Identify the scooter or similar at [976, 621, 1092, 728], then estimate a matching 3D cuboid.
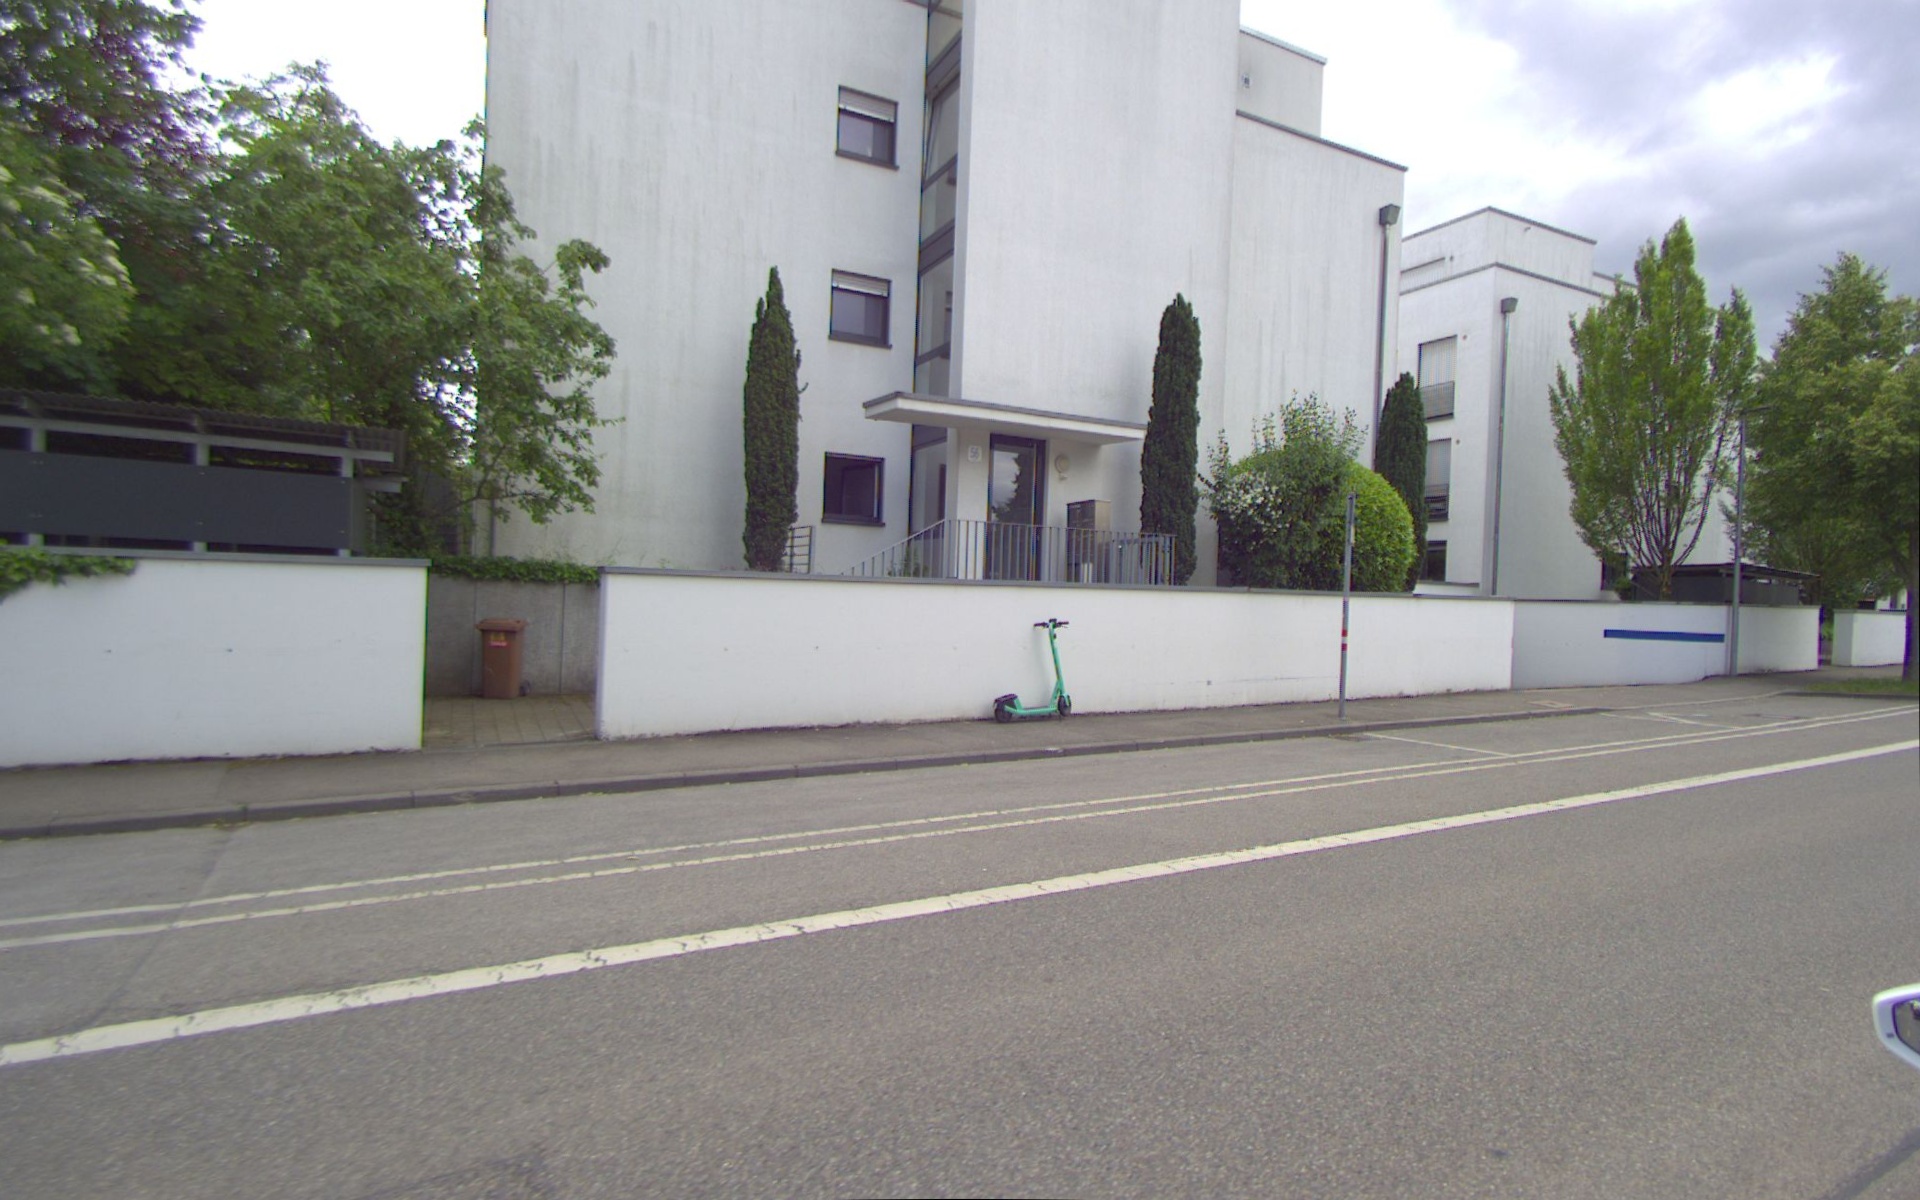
[{"bbox_3d":[0.880,0.856,11.865,1.312,1.181,0.431,1,3,-32],"label":"scooter or similar"}]
